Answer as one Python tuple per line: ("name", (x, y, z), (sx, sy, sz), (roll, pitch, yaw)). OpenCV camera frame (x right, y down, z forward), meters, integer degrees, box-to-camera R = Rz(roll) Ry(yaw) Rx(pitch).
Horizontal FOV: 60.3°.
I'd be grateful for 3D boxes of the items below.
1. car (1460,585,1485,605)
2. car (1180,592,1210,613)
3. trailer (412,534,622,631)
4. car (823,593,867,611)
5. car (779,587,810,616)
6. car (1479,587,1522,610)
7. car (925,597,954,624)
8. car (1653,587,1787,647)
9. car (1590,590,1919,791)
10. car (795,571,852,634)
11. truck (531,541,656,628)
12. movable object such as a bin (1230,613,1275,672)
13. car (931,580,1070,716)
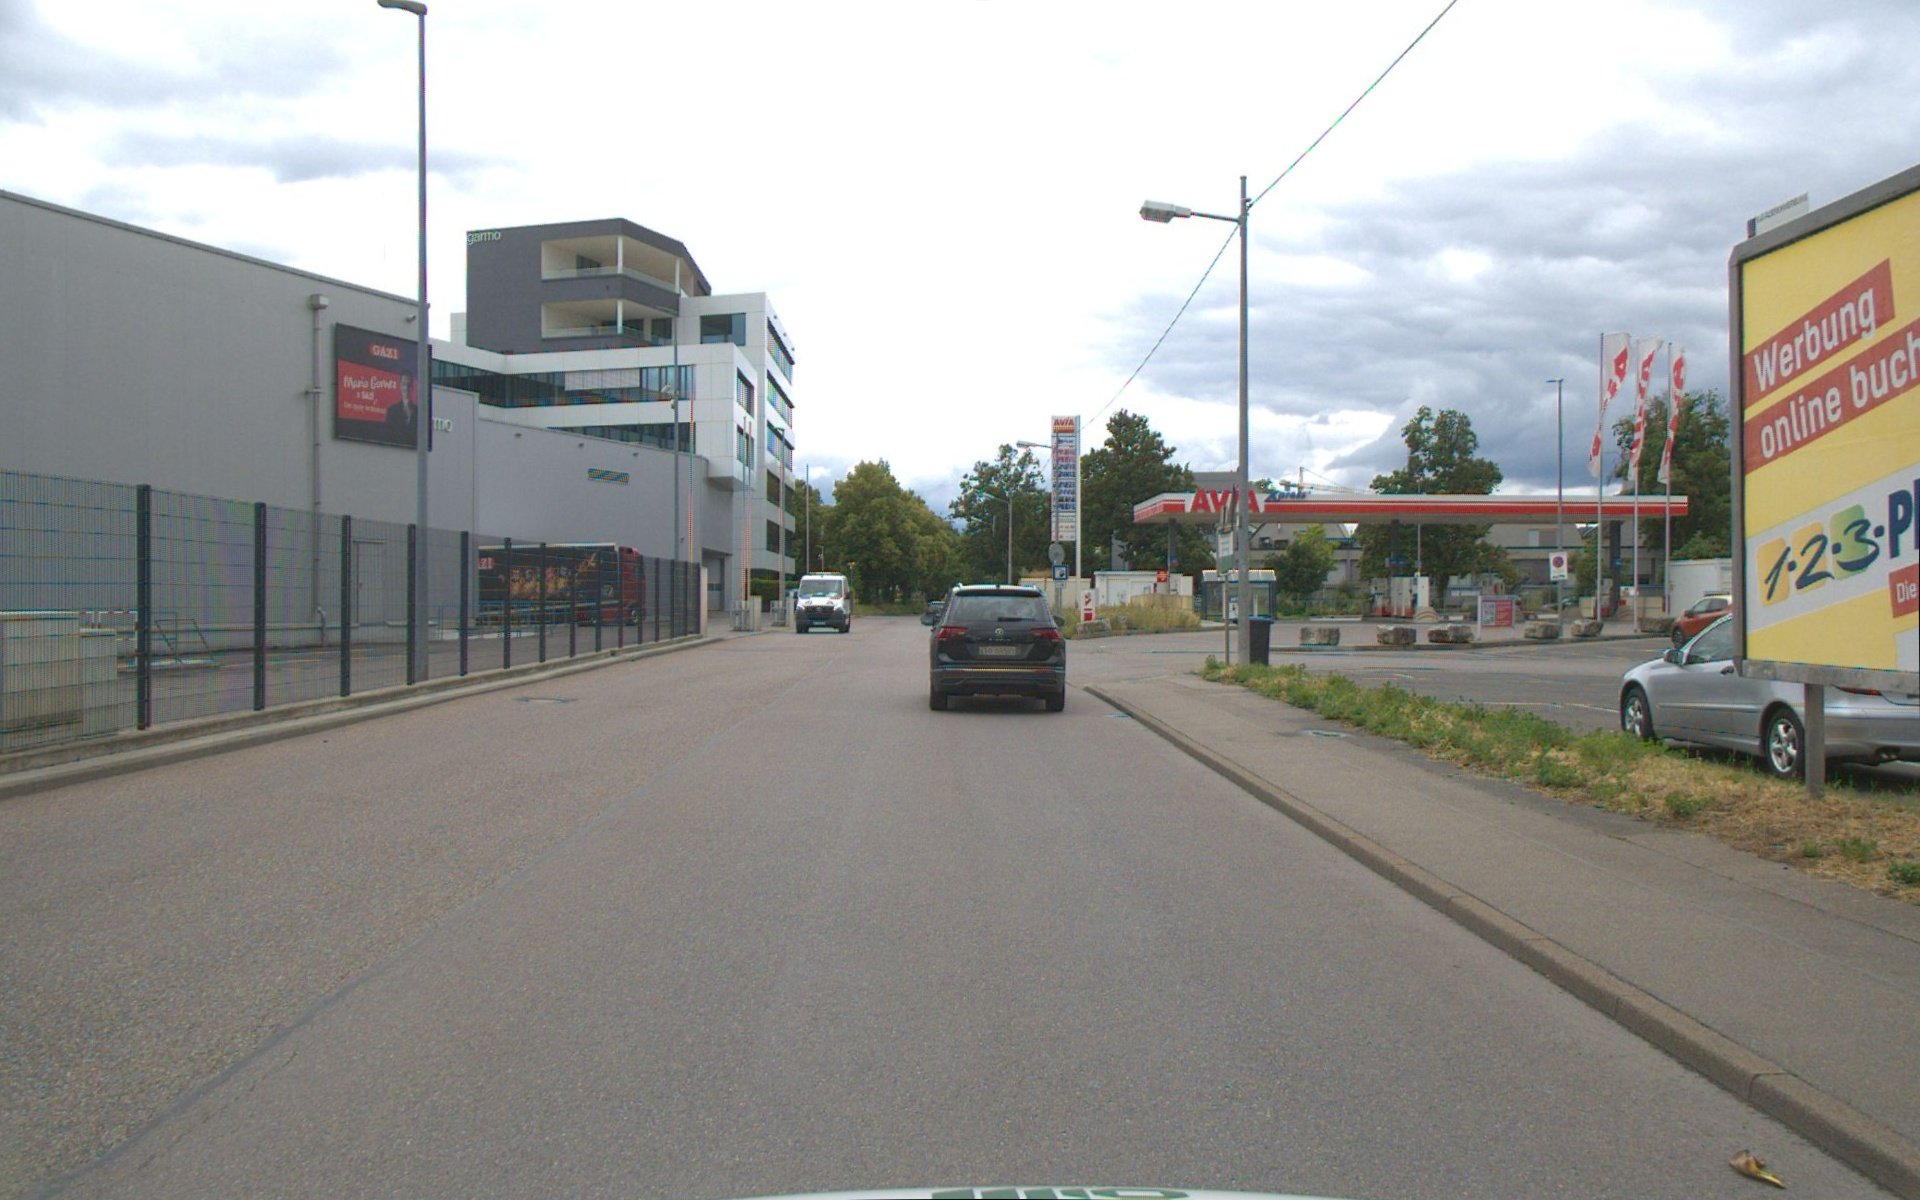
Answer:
("car", (42.779, -0.415, 138.004), (1.864, 1.547, 4.066), (-1, 1, 18))
("car", (19.737, 0.194, 138.844), (1.951, 1.640, 4.445), (-1, 1, 14))
("trailer", (-20.043, -0.760, 76.164), (2.685, 4.101, 12.621), (0, 0, 19))
("car", (-16.100, 0.292, 232.293), (5.944, 2.429, 2.395), (0, 0, 1))
("car", (-10.714, 0.081, 107.029), (1.616, 1.792, 3.179), (1, 0, 0))
("car", (36.997, -0.114, 113.278), (1.697, 1.557, 3.884), (-1, 0, 0))
("car", (-1.303, 0.643, 103.971), (1.801, 1.645, 3.999), (0, 0, -1))
("car", (21.317, 0.470, 46.580), (1.729, 1.598, 4.214), (1, 0, -2))
("car", (7.355, 0.661, 14.586), (1.737, 1.489, 4.558), (0, 0, -2))
("car", (-5.512, 0.081, 67.353), (1.953, 2.458, 5.255), (1, 0, -1))
("truck", (-18.036, -0.762, 81.899), (2.685, 4.101, 7.095), (0, 0, 19))
("movable object such as a bin", (5.607, 0.813, 31.721), (0.701, 1.100, 0.661), (0, 0, -8))
("car", (0.548, 0.630, 22.565), (1.703, 1.646, 3.641), (2, -1, 1))
